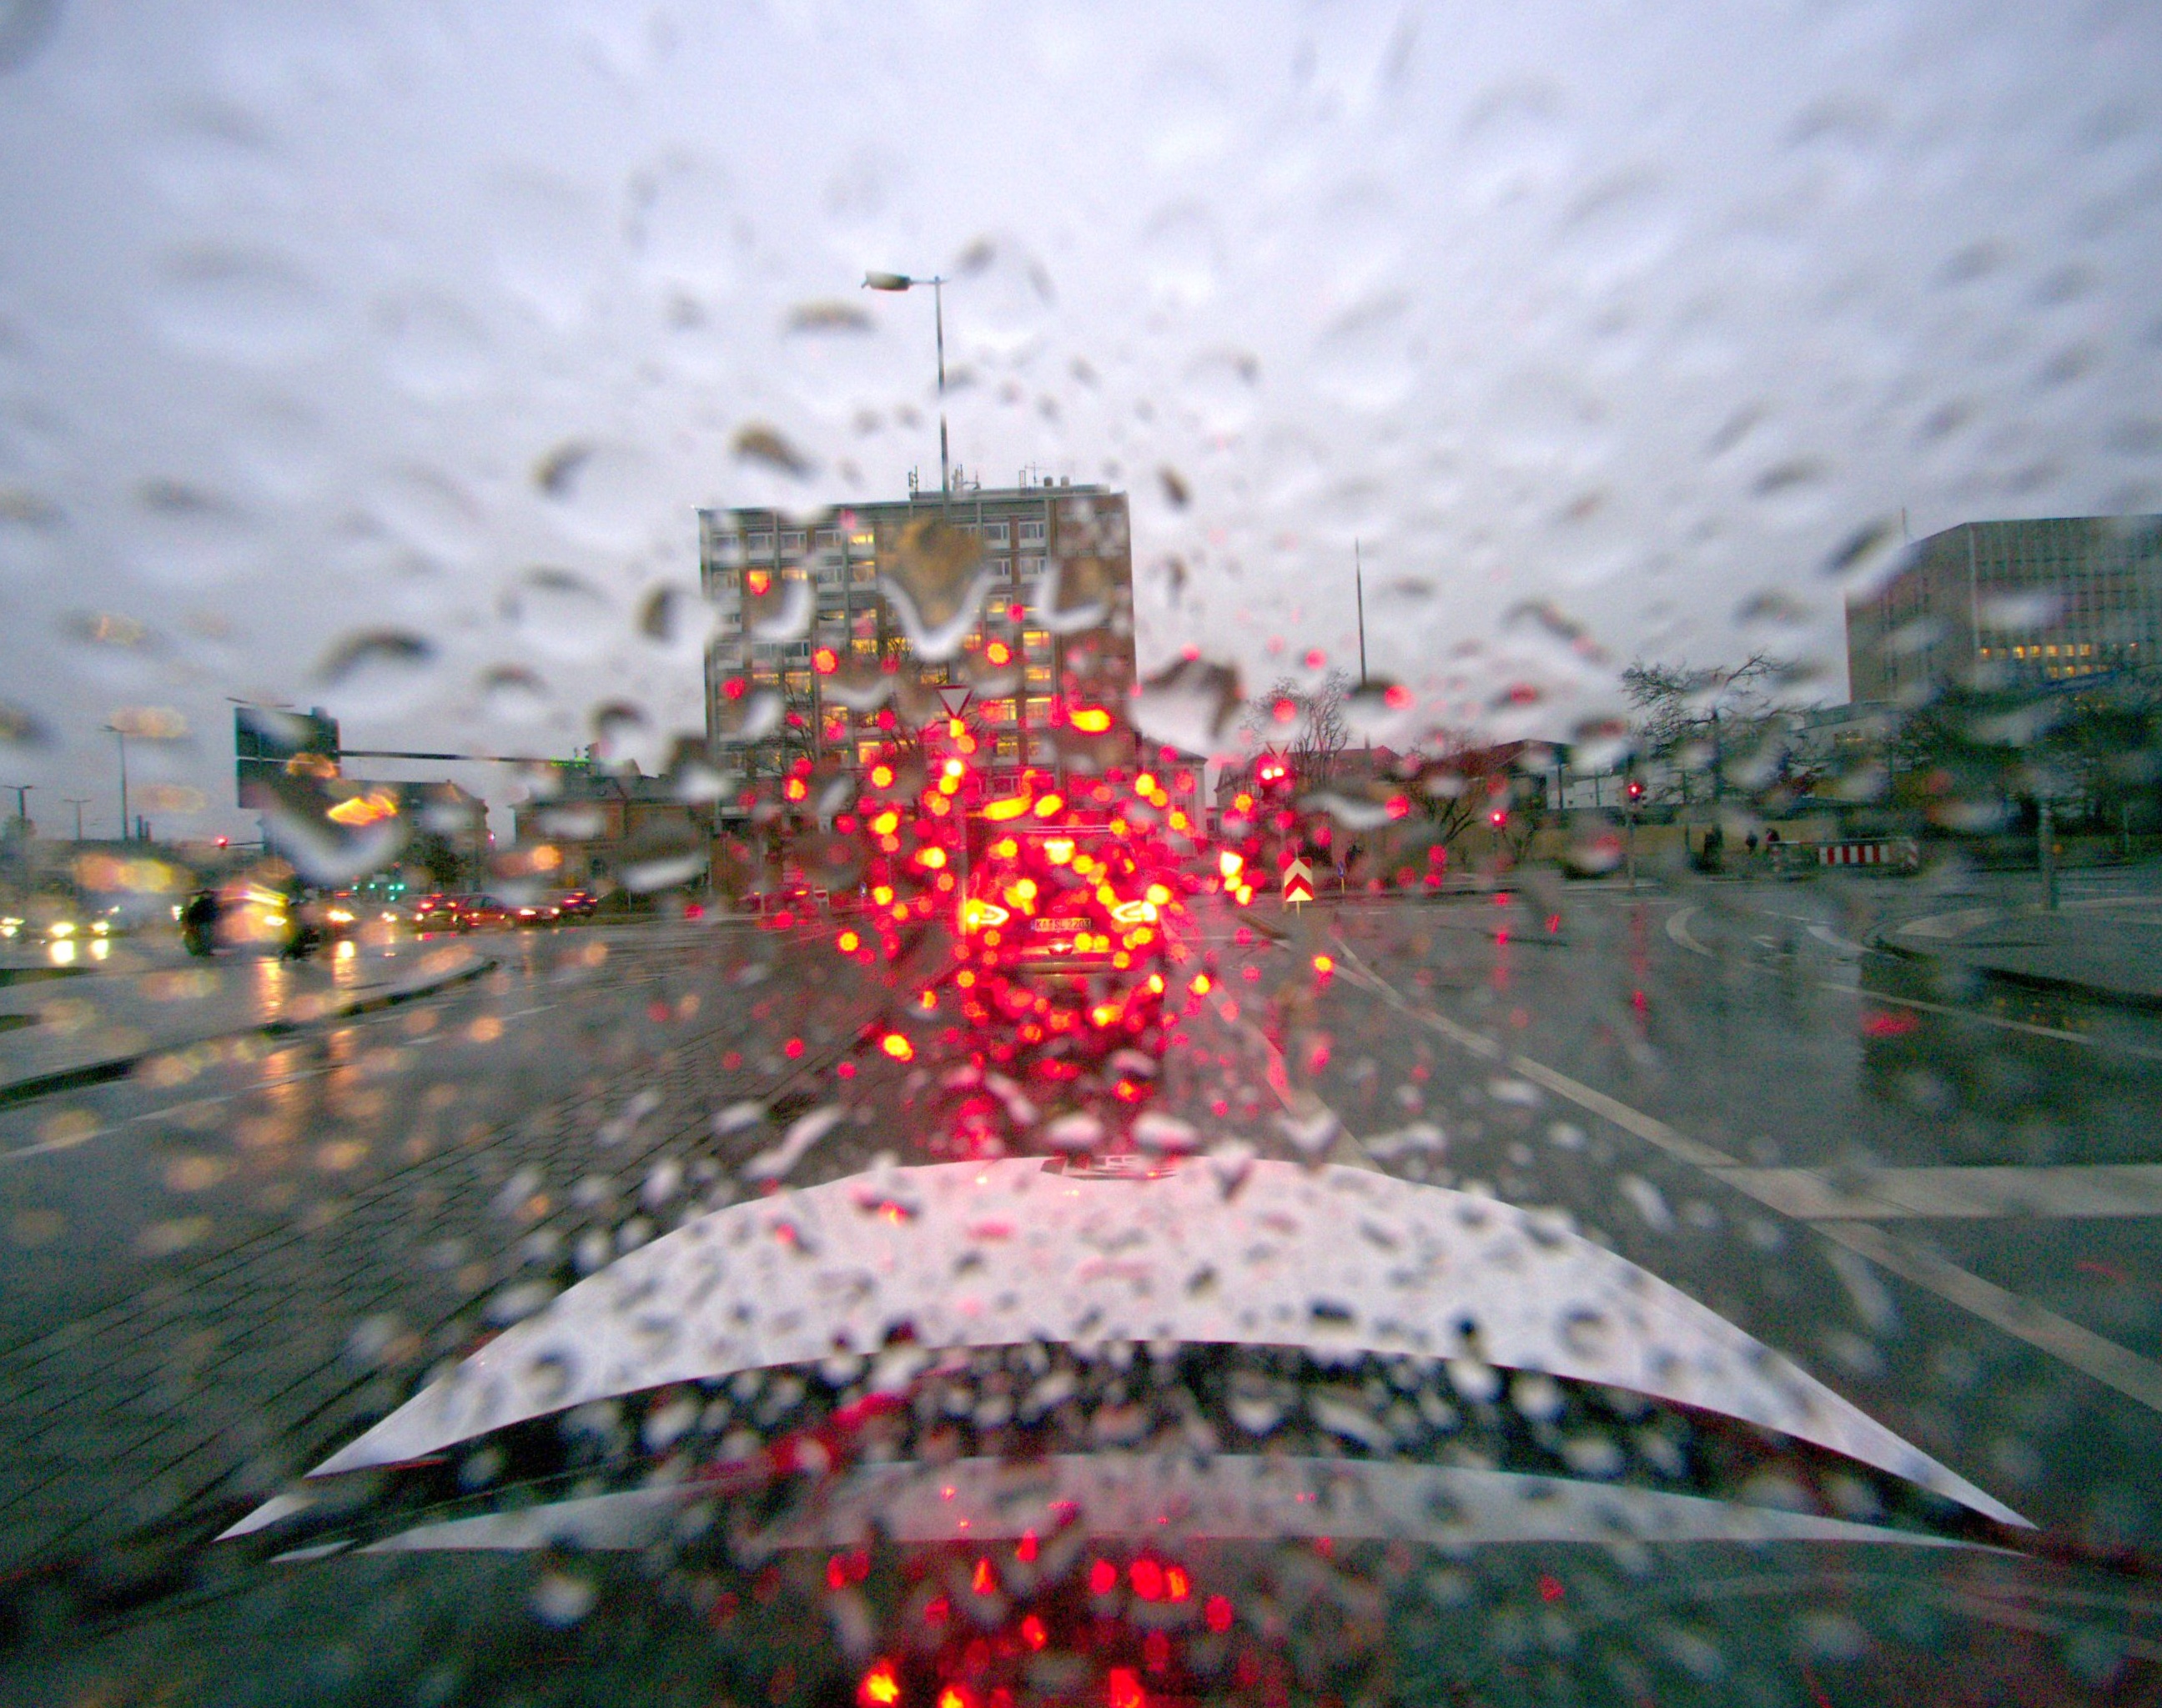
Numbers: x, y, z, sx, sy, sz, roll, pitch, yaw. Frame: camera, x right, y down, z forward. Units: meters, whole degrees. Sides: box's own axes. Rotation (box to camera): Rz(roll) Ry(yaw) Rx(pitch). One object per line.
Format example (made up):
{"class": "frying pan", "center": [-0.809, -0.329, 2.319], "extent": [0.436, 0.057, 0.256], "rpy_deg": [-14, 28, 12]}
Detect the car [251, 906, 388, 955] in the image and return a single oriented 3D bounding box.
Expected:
{"class": "car", "center": [-28.566, 2.852, 30.598], "extent": [4.037, 1.684, 1.766], "rpy_deg": [-1, -2, 13]}

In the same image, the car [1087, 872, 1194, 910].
{"class": "car", "center": [2.649, 1.655, 36.139], "extent": [4.401, 1.580, 1.975], "rpy_deg": [-1, -2, 14]}

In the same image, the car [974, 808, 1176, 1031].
{"class": "car", "center": [0.009, 0.539, 8.749], "extent": [1.641, 1.819, 4.002], "rpy_deg": [-1, 0, 2]}

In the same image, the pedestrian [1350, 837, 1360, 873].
{"class": "pedestrian", "center": [14.358, 0.059, 42.683], "extent": [0.454, 1.839, 0.441], "rpy_deg": [-2, -2, 19]}

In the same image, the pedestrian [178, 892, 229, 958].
{"class": "pedestrian", "center": [-23.535, 1.887, 21.851], "extent": [0.456, 1.697, 0.801], "rpy_deg": [-2, -2, 25]}

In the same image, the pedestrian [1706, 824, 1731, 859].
{"class": "pedestrian", "center": [32.559, -0.632, 41.596], "extent": [0.620, 1.725, 0.762], "rpy_deg": [-1, -2, 8]}

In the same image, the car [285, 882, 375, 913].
{"class": "car", "center": [-49.631, 2.858, 53.825], "extent": [5.114, 1.913, 2.008], "rpy_deg": [-2, -1, 17]}

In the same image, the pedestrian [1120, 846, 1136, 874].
{"class": "pedestrian", "center": [2.870, 0.359, 49.601], "extent": [0.688, 1.661, 0.671], "rpy_deg": [0, -3, -28]}

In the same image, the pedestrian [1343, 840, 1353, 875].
{"class": "pedestrian", "center": [14.354, 0.208, 43.780], "extent": [0.434, 1.839, 0.462], "rpy_deg": [-2, -2, 19]}

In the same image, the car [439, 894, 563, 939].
{"class": "car", "center": [-22.943, 2.450, 32.260], "extent": [4.040, 1.684, 1.766], "rpy_deg": [-1, -2, 14]}

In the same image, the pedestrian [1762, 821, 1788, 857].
{"class": "pedestrian", "center": [34.514, -0.753, 40.517], "extent": [0.620, 1.725, 0.762], "rpy_deg": [-1, -2, 8]}

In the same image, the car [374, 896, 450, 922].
{"class": "car", "center": [-39.002, 3.203, 47.481], "extent": [3.885, 1.486, 1.475], "rpy_deg": [-2, -2, 17]}

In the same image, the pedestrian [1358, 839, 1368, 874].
{"class": "pedestrian", "center": [15.151, 0.133, 43.712], "extent": [0.434, 1.839, 0.462], "rpy_deg": [-2, -2, 20]}

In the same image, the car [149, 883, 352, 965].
{"class": "car", "center": [-25.268, 2.080, 24.818], "extent": [4.981, 2.282, 2.268], "rpy_deg": [-2, -2, 18]}

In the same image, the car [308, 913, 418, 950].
{"class": "car", "center": [-30.472, 3.285, 34.578], "extent": [3.800, 1.449, 1.610], "rpy_deg": [-1, -2, 14]}

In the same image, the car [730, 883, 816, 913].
{"class": "car", "center": [-15.295, 2.201, 40.505], "extent": [3.762, 1.398, 1.570], "rpy_deg": [-1, -2, 14]}

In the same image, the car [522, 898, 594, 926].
{"class": "car", "center": [-28.651, 3.166, 44.642], "extent": [3.384, 1.398, 1.476], "rpy_deg": [-2, -1, 17]}

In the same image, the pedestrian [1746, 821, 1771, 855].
{"class": "pedestrian", "center": [34.822, -0.802, 41.863], "extent": [0.620, 1.725, 0.762], "rpy_deg": [-1, -2, 8]}

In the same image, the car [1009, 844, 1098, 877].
{"class": "car", "center": [-1.761, 0.459, 53.189], "extent": [5.516, 2.024, 2.004], "rpy_deg": [-1, -2, 7]}

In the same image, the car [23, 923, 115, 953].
{"class": "car", "center": [-53.730, 4.433, 43.259], "extent": [3.611, 1.447, 1.610], "rpy_deg": [-1, -2, 14]}
